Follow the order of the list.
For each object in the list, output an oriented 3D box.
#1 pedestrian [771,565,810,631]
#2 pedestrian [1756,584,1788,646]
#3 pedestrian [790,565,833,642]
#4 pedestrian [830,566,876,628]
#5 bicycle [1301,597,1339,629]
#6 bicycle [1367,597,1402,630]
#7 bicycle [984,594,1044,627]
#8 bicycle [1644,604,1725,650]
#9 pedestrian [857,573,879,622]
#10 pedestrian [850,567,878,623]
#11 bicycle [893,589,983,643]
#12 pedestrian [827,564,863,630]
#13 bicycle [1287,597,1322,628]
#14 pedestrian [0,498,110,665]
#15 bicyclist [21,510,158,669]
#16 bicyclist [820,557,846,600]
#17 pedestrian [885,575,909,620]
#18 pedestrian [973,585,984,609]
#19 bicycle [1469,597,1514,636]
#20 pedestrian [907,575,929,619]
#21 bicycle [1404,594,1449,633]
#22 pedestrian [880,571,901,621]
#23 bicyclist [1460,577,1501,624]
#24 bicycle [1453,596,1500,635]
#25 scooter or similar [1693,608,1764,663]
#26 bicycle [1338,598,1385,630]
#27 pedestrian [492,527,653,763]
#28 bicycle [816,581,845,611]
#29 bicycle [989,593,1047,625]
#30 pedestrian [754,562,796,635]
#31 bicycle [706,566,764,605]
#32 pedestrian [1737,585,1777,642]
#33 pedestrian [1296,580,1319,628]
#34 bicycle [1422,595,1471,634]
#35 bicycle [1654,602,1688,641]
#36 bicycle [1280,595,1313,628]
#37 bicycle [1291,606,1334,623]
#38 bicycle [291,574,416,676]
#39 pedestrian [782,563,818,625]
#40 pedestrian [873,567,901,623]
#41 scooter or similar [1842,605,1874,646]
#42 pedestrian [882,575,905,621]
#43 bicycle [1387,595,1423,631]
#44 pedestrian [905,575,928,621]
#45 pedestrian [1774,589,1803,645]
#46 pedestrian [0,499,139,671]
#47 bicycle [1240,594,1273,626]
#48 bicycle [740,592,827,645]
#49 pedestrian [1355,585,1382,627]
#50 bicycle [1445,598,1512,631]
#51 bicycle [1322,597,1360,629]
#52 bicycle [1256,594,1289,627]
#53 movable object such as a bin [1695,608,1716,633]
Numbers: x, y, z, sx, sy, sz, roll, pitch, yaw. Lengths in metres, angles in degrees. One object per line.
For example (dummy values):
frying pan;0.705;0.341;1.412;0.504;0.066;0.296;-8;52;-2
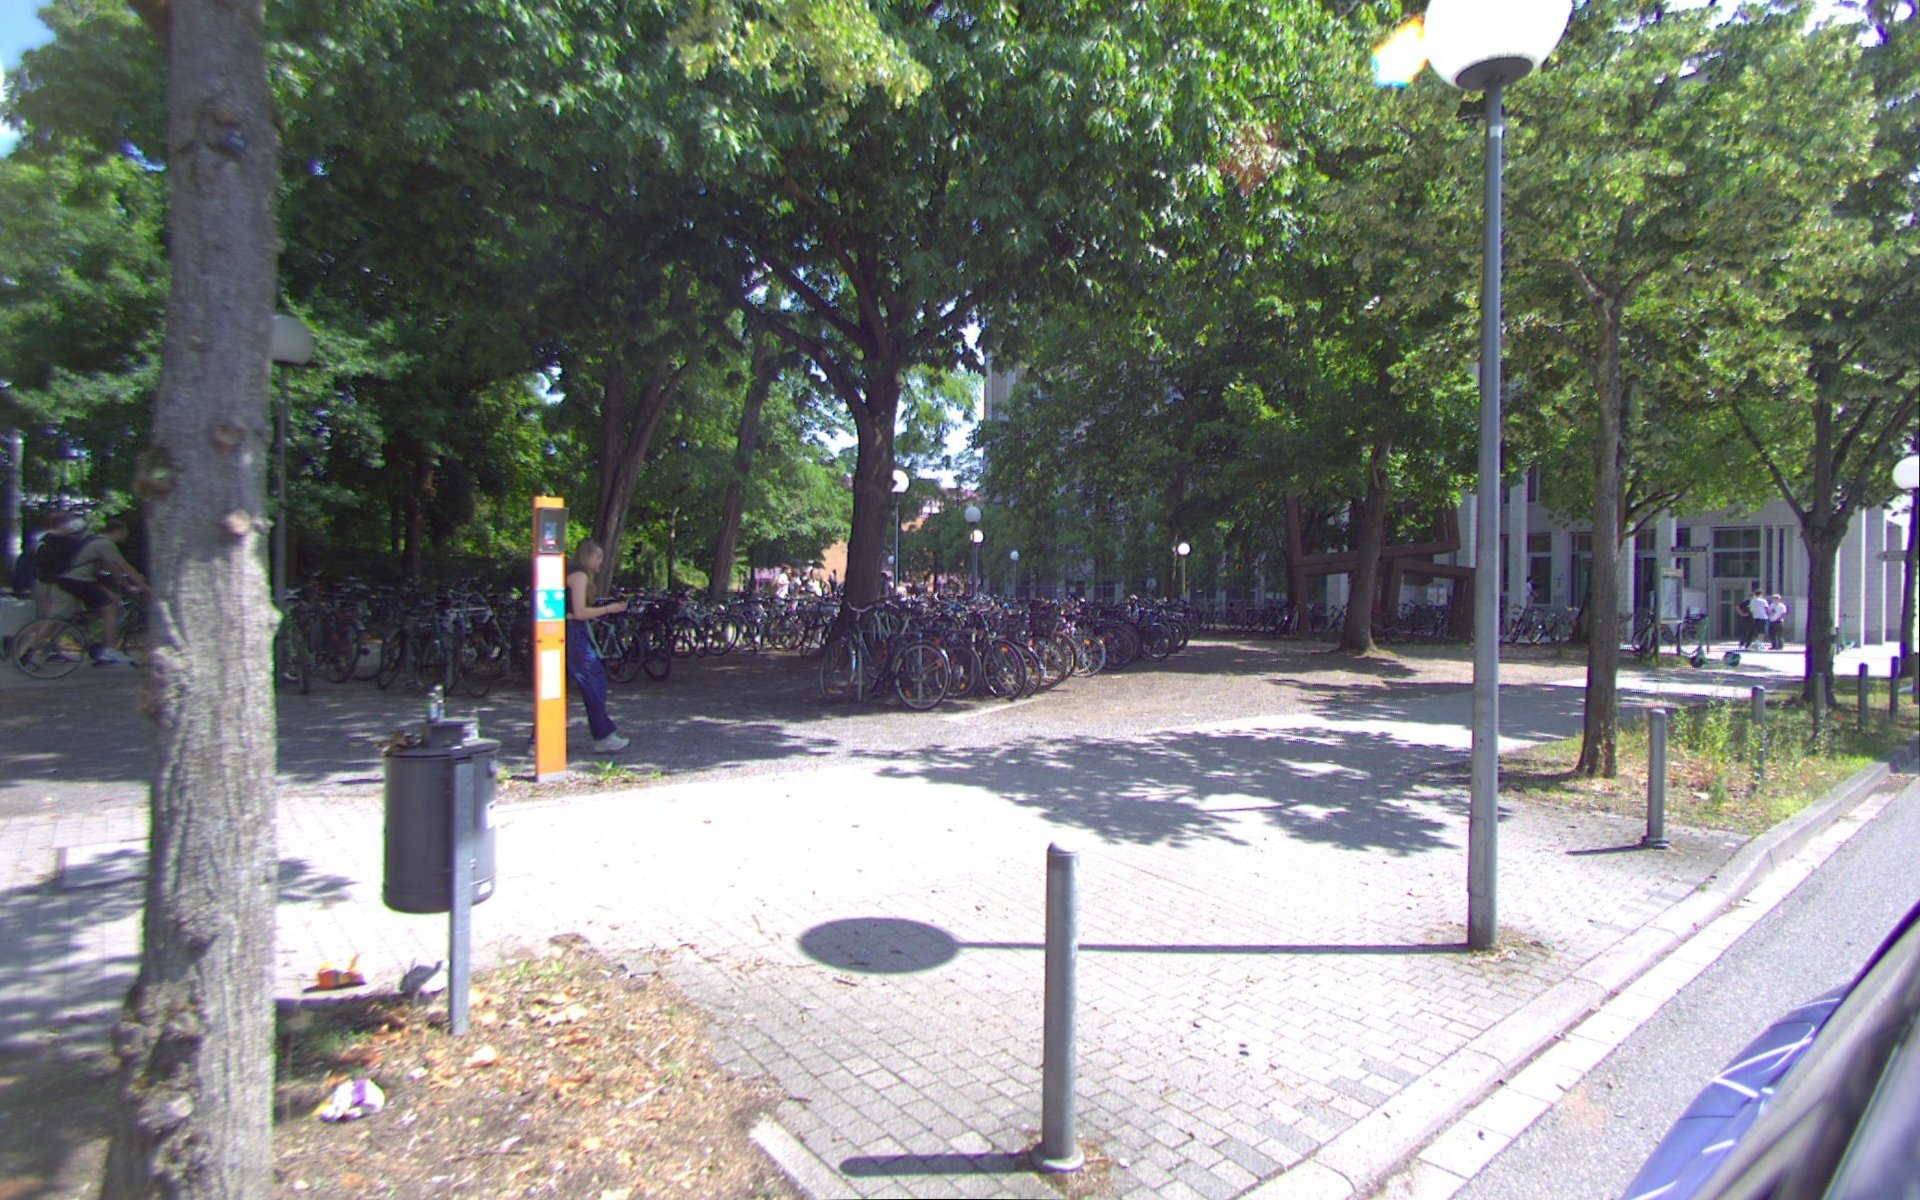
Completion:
pedestrian;-4.667;-0.059;27.836;0.742;1.797;0.710;1;0;42
pedestrian;25.367;0.456;31.609;0.675;1.915;0.685;-1;0;-43
pedestrian;-3.575;0.077;24.315;0.707;1.797;0.745;2;0;-36
pedestrian;-3.188;-0.098;30.170;0.954;1.797;0.963;1;0;28
bicycle;12.612;0.464;35.396;0.615;1.061;1.661;-2;-3;44
bicycle;14.168;0.460;33.749;0.566;1.061;1.670;-2;-3;41
bicycle;1.727;0.324;32.184;1.871;0.991;0.478;2;1;7
bicycle;19.104;0.707;26.701;1.750;1.155;0.607;1;2;-8
pedestrian;-3.403;-0.097;37.588;0.730;1.797;0.721;2;0;-3
pedestrian;-3.165;-0.162;33.358;0.732;1.797;0.719;2;0;9
bicycle;-0.485;0.336;22.018;1.875;1.096;0.477;2;1;14
pedestrian;-3.226;-0.095;28.346;0.735;1.797;0.716;1;0;18
bicycle;12.207;0.459;35.812;0.499;1.061;1.661;-2;-3;44
pedestrian;-11.490;-0.239;12.653;0.828;1.973;1.068;3;1;29
bicyclist;-10.048;-0.130;11.707;0.527;1.751;1.068;3;1;29
bicyclist;-4.466;-0.758;35.587;0.732;1.465;0.802;2;0;6
pedestrian;-2.613;-0.107;42.130;0.824;1.797;0.994;2;0;-11
pedestrian;0.945;-0.163;52.345;0.379;1.228;0.403;2;0;-33
bicycle;16.379;0.505;31.174;1.664;1.139;0.482;3;0;-36
pedestrian;-1.750;-0.111;42.310;0.837;1.797;0.813;2;0;-5
bicycle;15.125;0.442;32.802;1.665;1.165;0.627;3;1;-39
pedestrian;-2.574;-0.148;37.618;0.730;1.797;0.721;2;0;-3
bicyclist;18.301;0.026;35.587;0.822;1.562;0.960;4;0;-35
bicycle;16.174;0.484;31.664;1.664;1.139;0.566;3;1;-36
scooter or similar;16.669;0.762;21.961;1.333;1.128;0.498;2;0;-16
bicycle;13.617;0.474;34.344;1.663;1.061;0.618;1;-3;-33
pedestrian;-2.812;0.301;7.358;0.911;1.591;0.569;2;1;-40
bicycle;-4.519;-0.154;35.526;0.576;0.942;1.750;3;2;6
bicycle;1.923;0.293;33.459;1.868;0.991;0.478;2;1;1
pedestrian;-4.670;-0.045;25.576;0.735;1.797;0.716;1;0;19
bicycle;-6.634;-0.441;29.858;1.586;1.107;0.477;2;1;12
pedestrian;25.695;0.420;32.637;0.796;1.819;0.619;1;0;6
pedestrian;12.481;0.149;36.382;0.427;1.725;0.929;-1;-2;45
bicycle;15.442;0.460;32.138;1.664;1.139;0.628;3;1;-36
bicycle;24.085;0.711;34.267;1.798;1.257;0.531;-1;1;-42
bicycle;12.147;0.432;36.559;0.453;1.144;1.661;-2;-3;44
bicycle;17.712;0.707;50.854;0.633;0.769;1.986;2;0;-43
bicycle;-7.489;0.281;12.468;1.888;1.157;0.473;2;1;31
pedestrian;-4.739;-0.183;30.027;0.737;1.797;0.715;1;0;24
pedestrian;-2.393;-0.151;33.222;0.732;1.797;0.719;2;0;9
scooter or similar;28.571;0.806;32.193;1.484;1.226;0.564;0;3;-42
pedestrian;-2.664;-0.095;40.554;0.729;1.797;0.722;2;0;-15
bicycle;14.647;0.444;33.289;0.625;1.165;1.671;-2;-3;40
pedestrian;-1.747;-0.088;40.876;0.729;1.797;0.722;2;0;-15
pedestrian;26.256;0.530;32.062;0.533;1.751;0.613;0;0;-39
pedestrian;-10.769;-0.194;12.230;0.828;1.973;1.068;3;1;29
bicycle;10.987;0.374;37.528;0.453;1.144;1.661;-2;-3;44
bicycle;-3.603;0.355;20.583;1.863;0.991;0.304;2;1;23
pedestrian;17.124;0.245;42.405;0.930;1.762;0.741;0;0;30
bicycle;18.242;0.481;35.625;0.803;1.054;1.931;-3;3;-35
bicycle;13.133;0.463;34.899;0.615;1.061;1.661;-2;-3;44
bicycle;11.443;0.395;37.065;0.453;1.144;1.661;-2;-3;44
movable object such as a bin;28.961;0.794;39.313;0.503;0.961;0.513;2;2;-42
